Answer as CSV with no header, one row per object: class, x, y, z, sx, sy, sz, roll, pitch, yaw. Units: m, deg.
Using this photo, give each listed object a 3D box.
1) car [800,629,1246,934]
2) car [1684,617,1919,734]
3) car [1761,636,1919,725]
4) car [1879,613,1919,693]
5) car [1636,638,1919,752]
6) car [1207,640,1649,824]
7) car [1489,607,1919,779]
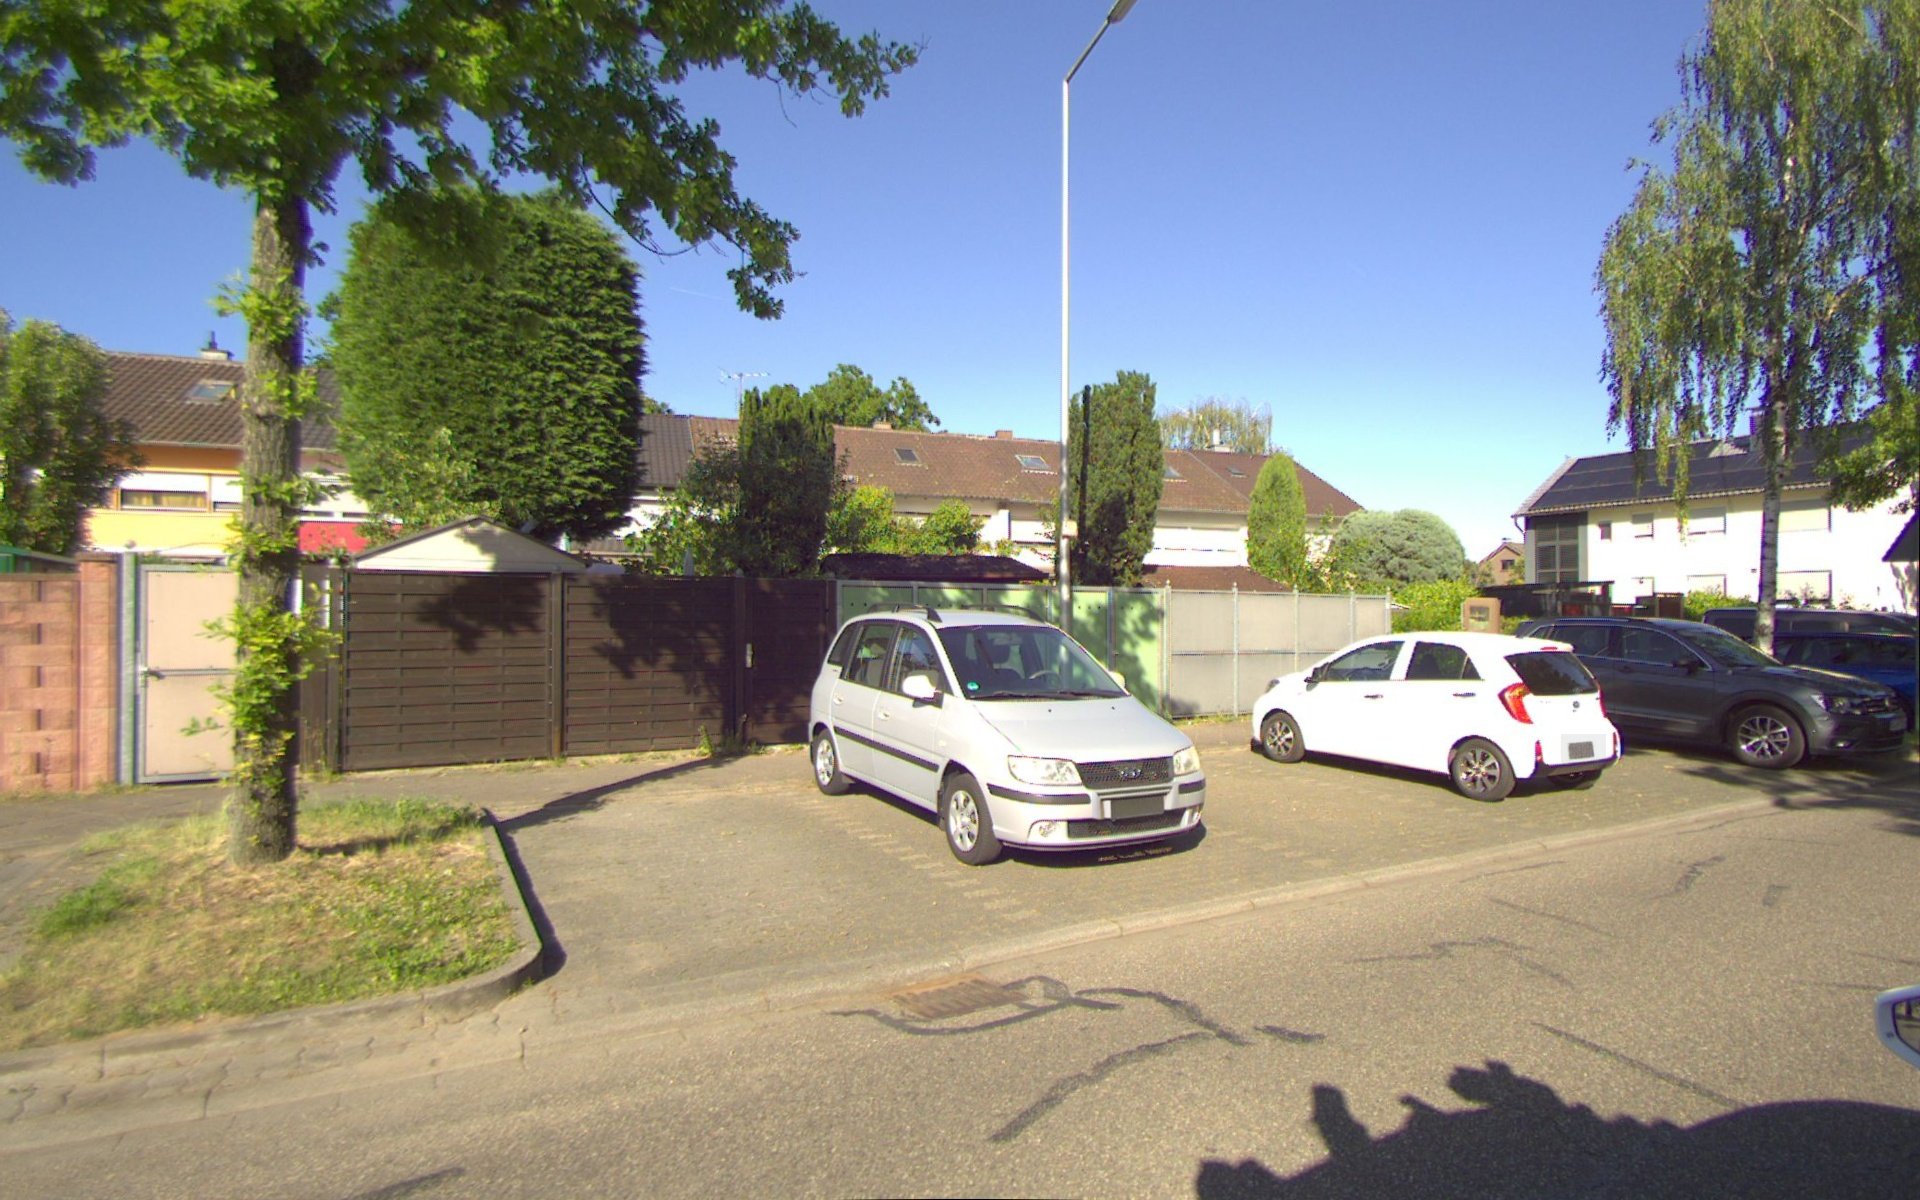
car,0.200,1.096,7.861,1.685,1.635,3.922,0,0,-28
car,15.199,1.193,16.852,1.775,1.792,4.649,0,0,-31
car,17.282,1.399,17.817,1.817,1.519,4.451,0,-2,-33
car,23.205,1.210,22.024,1.947,1.793,4.212,0,0,-34
car,12.944,1.346,15.170,1.702,1.443,4.253,0,-1,-29
car,4.691,1.219,10.691,1.773,1.535,3.985,0,-3,-29
car,9.093,1.023,12.465,1.739,1.746,4.192,0,-2,-29
